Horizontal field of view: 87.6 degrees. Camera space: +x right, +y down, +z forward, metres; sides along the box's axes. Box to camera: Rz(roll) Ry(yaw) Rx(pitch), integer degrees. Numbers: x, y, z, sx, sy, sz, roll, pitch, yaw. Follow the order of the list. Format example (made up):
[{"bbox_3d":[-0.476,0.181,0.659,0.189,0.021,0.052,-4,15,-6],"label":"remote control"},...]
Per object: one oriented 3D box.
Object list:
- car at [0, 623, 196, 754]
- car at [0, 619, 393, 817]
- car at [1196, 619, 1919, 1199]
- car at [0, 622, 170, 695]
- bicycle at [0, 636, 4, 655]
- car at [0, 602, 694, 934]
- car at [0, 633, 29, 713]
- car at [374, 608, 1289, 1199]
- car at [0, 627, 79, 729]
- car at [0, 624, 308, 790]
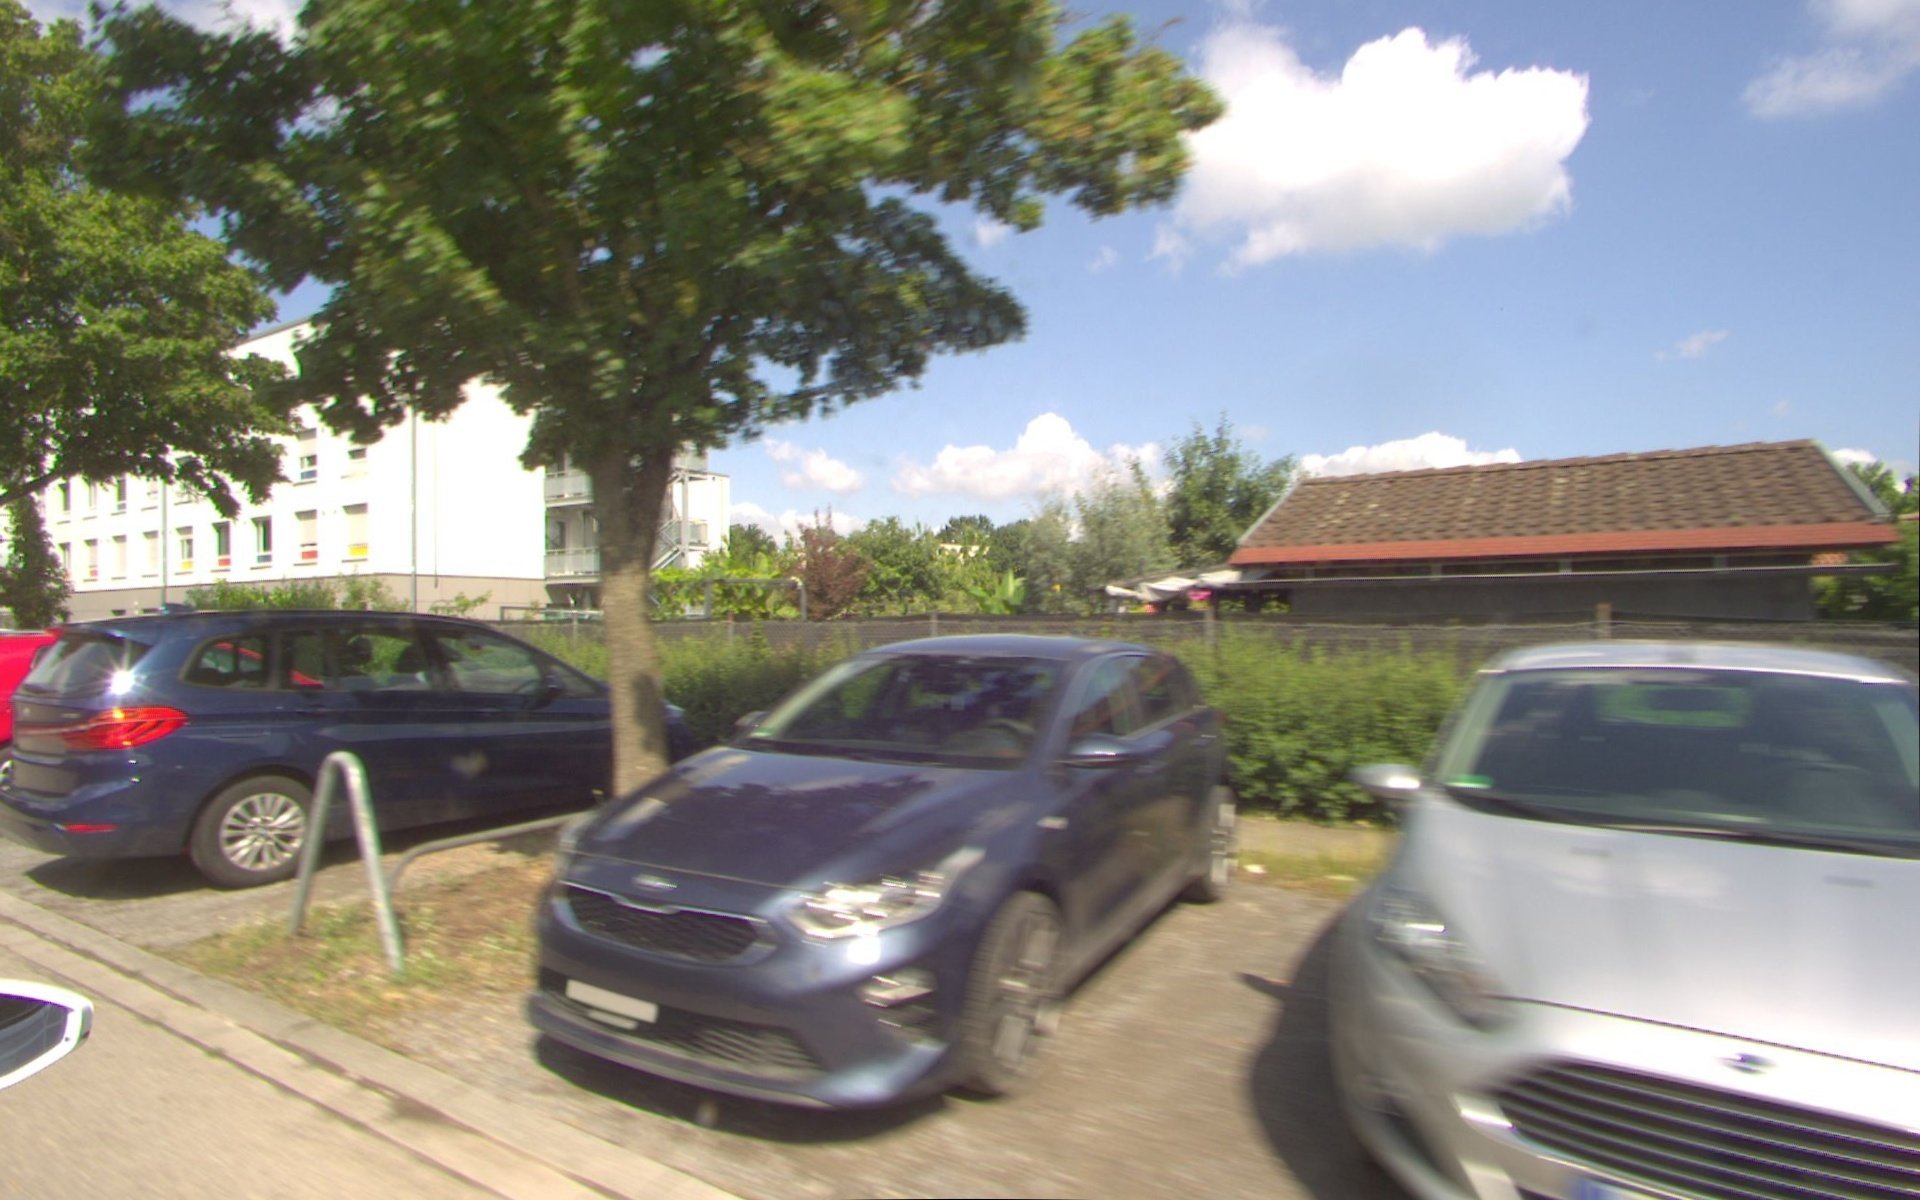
[{"bbox_3d":[-12.057,1.081,12.559,1.641,1.568,3.572,-1,-3,29],"label":"car"},{"bbox_3d":[-7.734,0.975,9.440,1.737,1.552,3.802,-1,-1,32],"label":"car"},{"bbox_3d":[2.309,0.871,3.349,1.875,1.510,3.808,-1,-3,32],"label":"car"},{"bbox_3d":[-20.549,1.283,22.348,1.733,1.449,4.232,-1,0,31],"label":"car"},{"bbox_3d":[-57.540,2.707,58.702,0.617,1.134,2.081,-1,0,37],"label":"bicycle"},{"bbox_3d":[-4.160,0.877,7.249,1.853,1.659,4.145,-1,-1,33],"label":"car"},{"bbox_3d":[-18.738,1.308,16.801,1.696,1.410,4.344,-1,-1,36],"label":"car"},{"bbox_3d":[0.013,0.885,4.662,1.947,1.510,4.330,-1,-3,32],"label":"car"},{"bbox_3d":[-16.172,1.182,15.126,1.840,1.579,3.929,-1,-3,31],"label":"car"},{"bbox_3d":[-9.810,1.075,10.600,1.782,1.598,4.544,-1,-3,31],"label":"car"}]
